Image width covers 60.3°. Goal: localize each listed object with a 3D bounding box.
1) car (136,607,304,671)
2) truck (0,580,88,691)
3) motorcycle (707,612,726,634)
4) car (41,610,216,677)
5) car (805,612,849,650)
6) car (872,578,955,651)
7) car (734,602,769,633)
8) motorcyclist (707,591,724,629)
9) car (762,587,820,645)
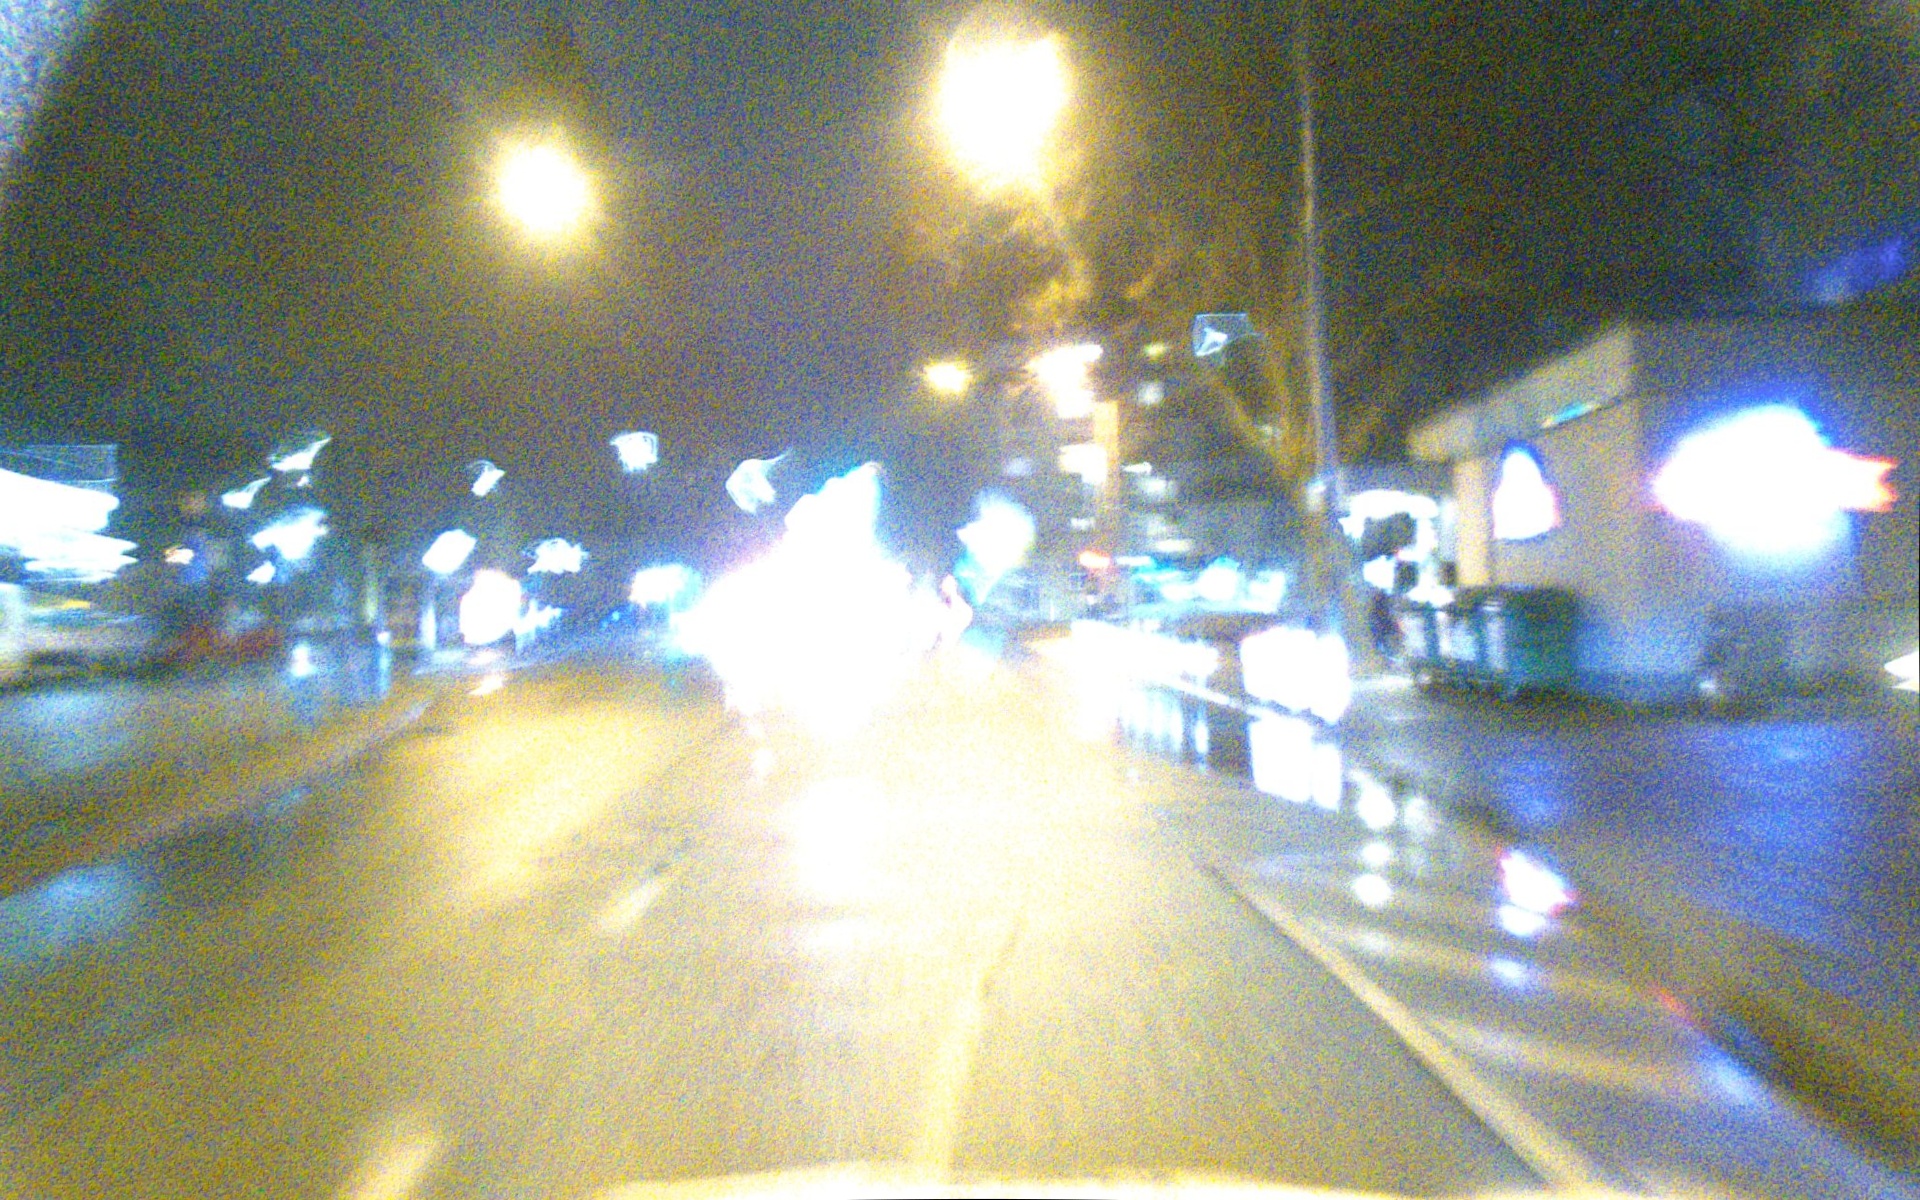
[{"bbox_3d":[-18.632,0.946,41.823,1.677,1.456,3.921,-1,0,18],"label":"car"},{"bbox_3d":[-19.080,0.722,30.586,2.078,2.048,5.266,-2,1,17],"label":"truck"},{"bbox_3d":[-13.393,1.265,90.905,0.687,1.158,2.176,-2,1,1],"label":"motorcycle"},{"bbox_3d":[-21.082,1.081,42.097,1.677,1.547,3.921,-1,0,18],"label":"car"},{"bbox_3d":[-5.997,1.366,74.259,1.783,1.569,4.719,-2,0,-7],"label":"car"},{"bbox_3d":[-1.447,0.420,49.283,2.126,2.006,4.297,-2,0,-5],"label":"car"},{"bbox_3d":[-11.402,0.960,90.646,1.817,1.525,4.762,-2,1,-7],"label":"car"},{"bbox_3d":[-13.423,0.566,90.849,0.679,2.049,0.983,-2,0,0],"label":"motorcyclist"},{"bbox_3d":[-6.562,0.582,64.749,1.994,1.987,5.195,-4,1,-4],"label":"car"}]
